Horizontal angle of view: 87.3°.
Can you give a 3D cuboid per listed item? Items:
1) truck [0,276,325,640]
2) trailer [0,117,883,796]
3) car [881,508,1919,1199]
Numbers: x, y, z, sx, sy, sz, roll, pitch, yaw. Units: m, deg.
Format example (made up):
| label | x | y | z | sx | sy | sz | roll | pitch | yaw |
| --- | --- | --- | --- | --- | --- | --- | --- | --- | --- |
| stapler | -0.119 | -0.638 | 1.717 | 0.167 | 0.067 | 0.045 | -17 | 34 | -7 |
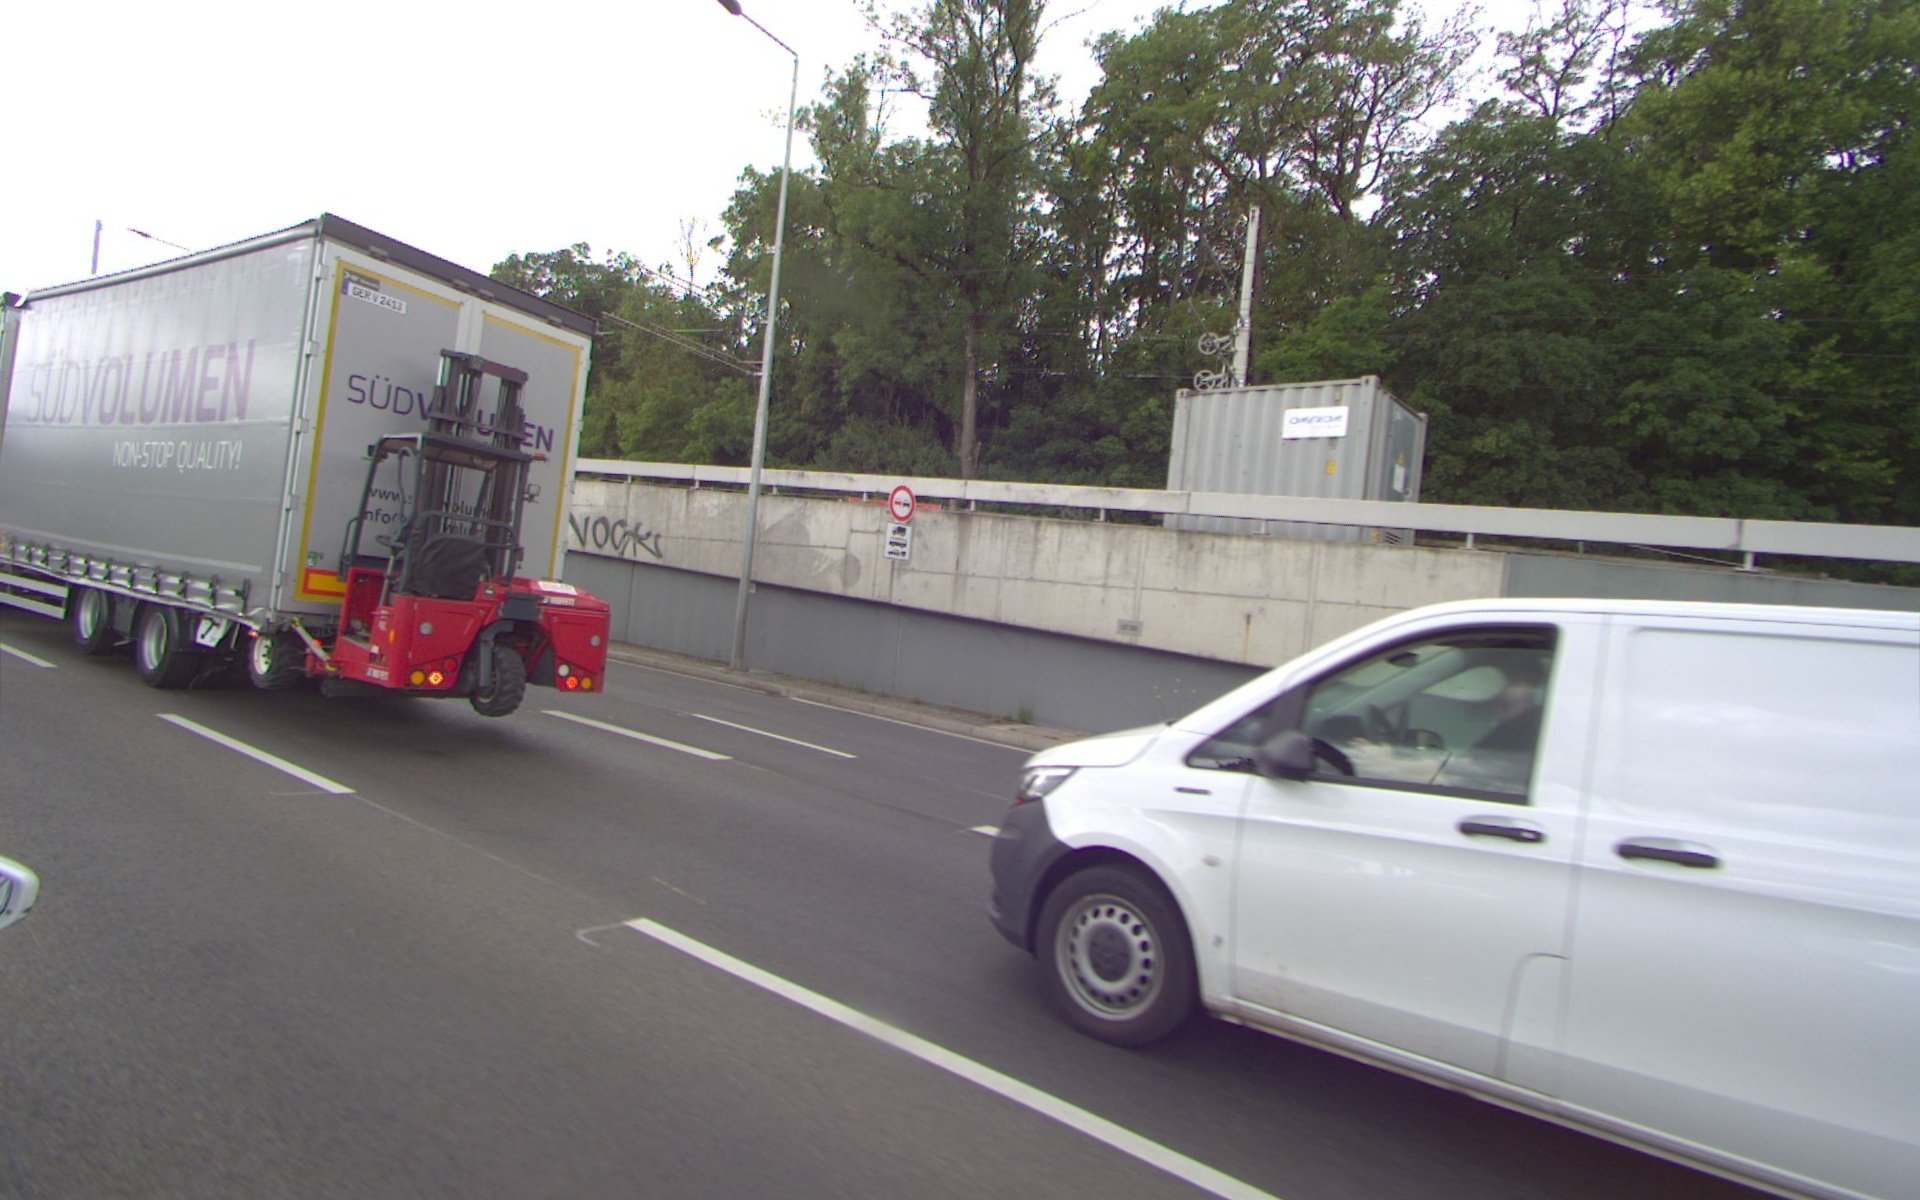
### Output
| label | x | y | z | sx | sy | sz | roll | pitch | yaw |
| --- | --- | --- | --- | --- | --- | --- | --- | --- | --- |
| truck | -15.388 | -2.120 | 16.669 | 10.806 | 4.190 | 3.730 | 6 | -2 | 33 |
| trailer | -6.430 | -1.158 | 10.718 | 10.807 | 4.190 | 3.729 | 6 | -2 | 34 |
| car | 2.391 | 0.901 | 3.652 | 5.120 | 2.013 | 1.995 | 6 | -2 | 37 |
